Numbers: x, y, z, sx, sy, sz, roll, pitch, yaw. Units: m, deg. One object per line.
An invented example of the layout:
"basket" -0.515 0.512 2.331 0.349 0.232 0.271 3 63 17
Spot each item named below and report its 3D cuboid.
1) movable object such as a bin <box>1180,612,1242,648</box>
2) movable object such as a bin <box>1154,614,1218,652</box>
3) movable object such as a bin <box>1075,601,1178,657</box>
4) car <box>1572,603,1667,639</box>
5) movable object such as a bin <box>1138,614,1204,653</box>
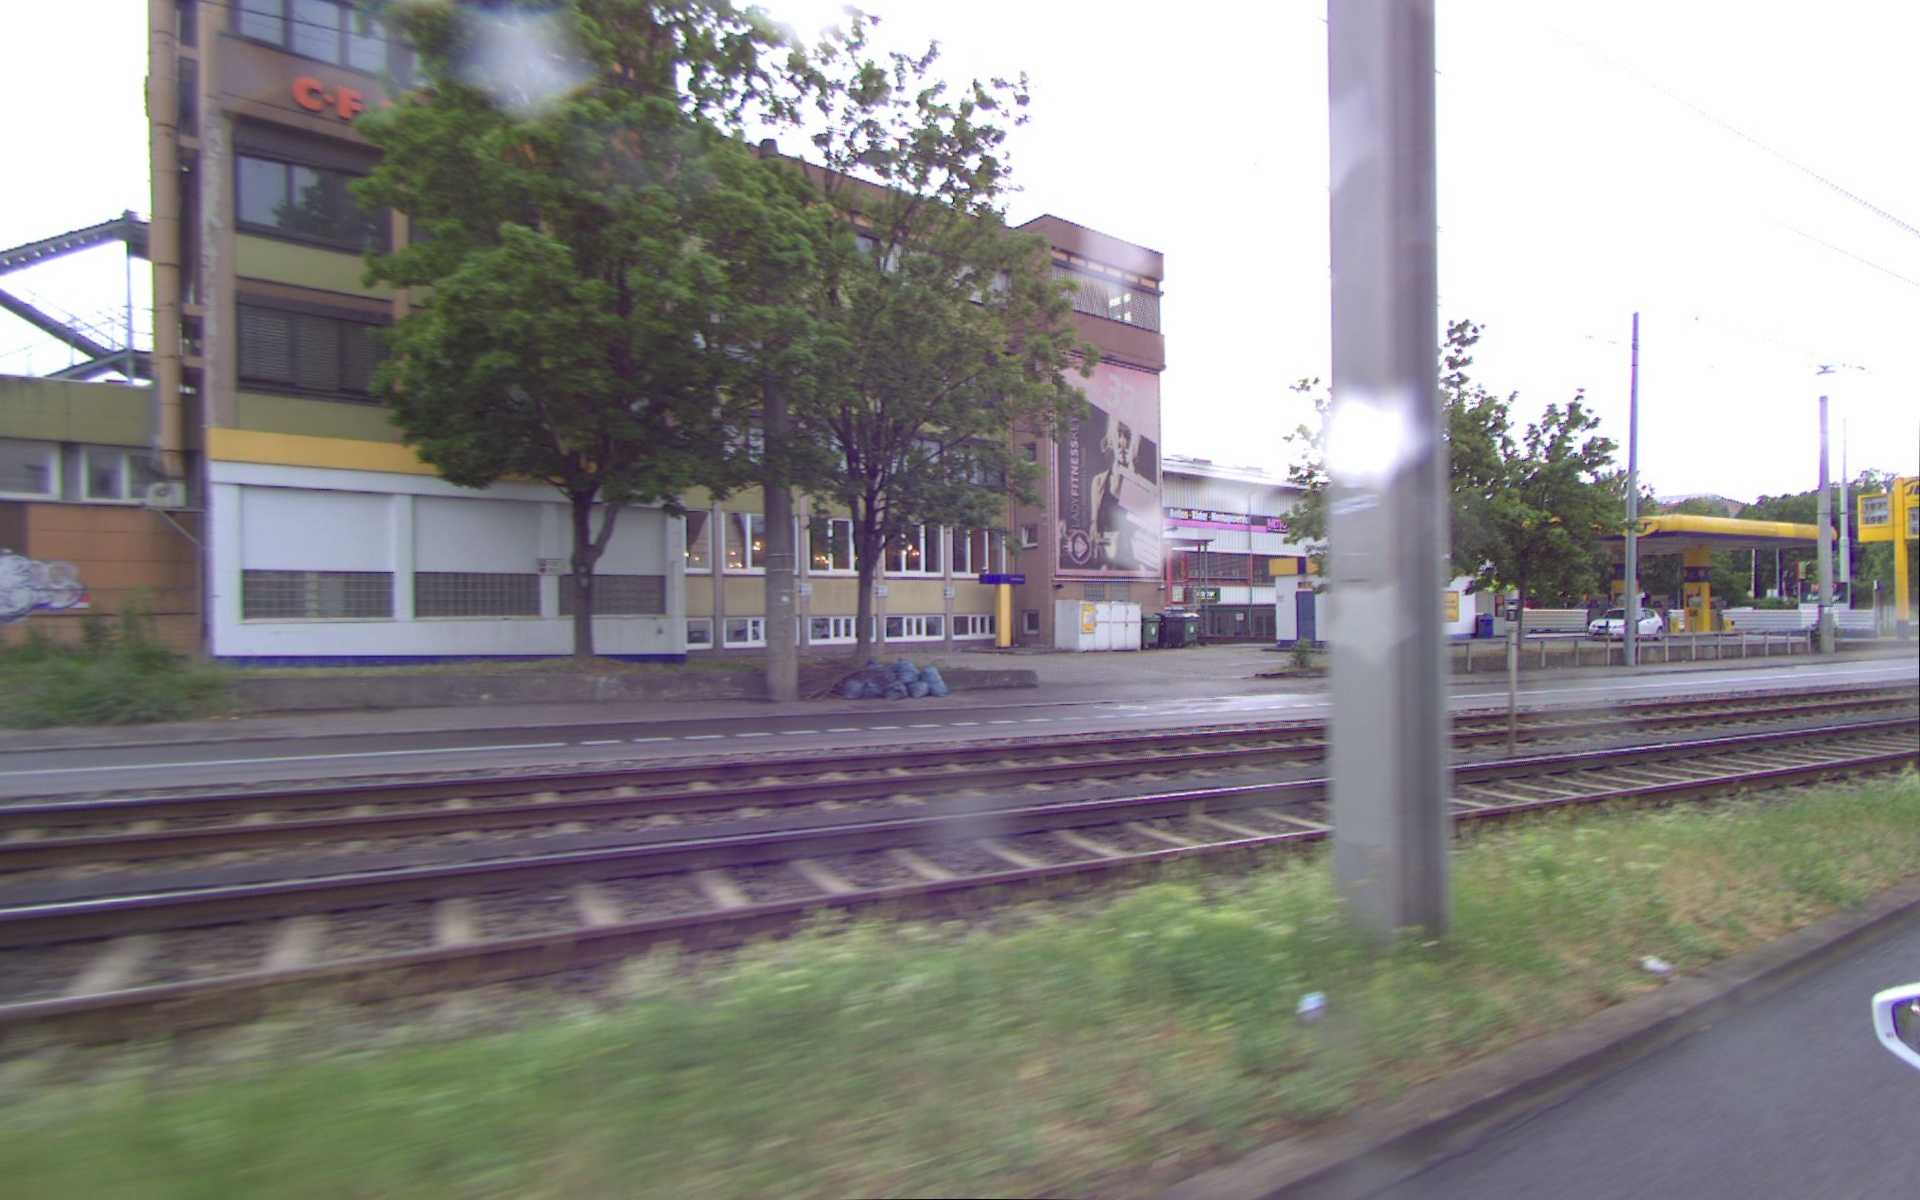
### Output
"movable object such as a bin" 10.488 1.231 41.947 1.556 1.394 1.977 -1 2 -39
"movable object such as a bin" 9.183 1.307 40.852 1.556 1.394 1.977 -1 2 -39
"movable object such as a bin" 6.249 1.030 37.554 3.541 1.945 1.977 -1 2 -40
"car" 29.132 0.928 44.384 3.954 1.461 1.983 1 0 -31
"movable object such as a bin" 8.263 1.289 39.384 1.556 1.394 1.977 -1 2 -39
